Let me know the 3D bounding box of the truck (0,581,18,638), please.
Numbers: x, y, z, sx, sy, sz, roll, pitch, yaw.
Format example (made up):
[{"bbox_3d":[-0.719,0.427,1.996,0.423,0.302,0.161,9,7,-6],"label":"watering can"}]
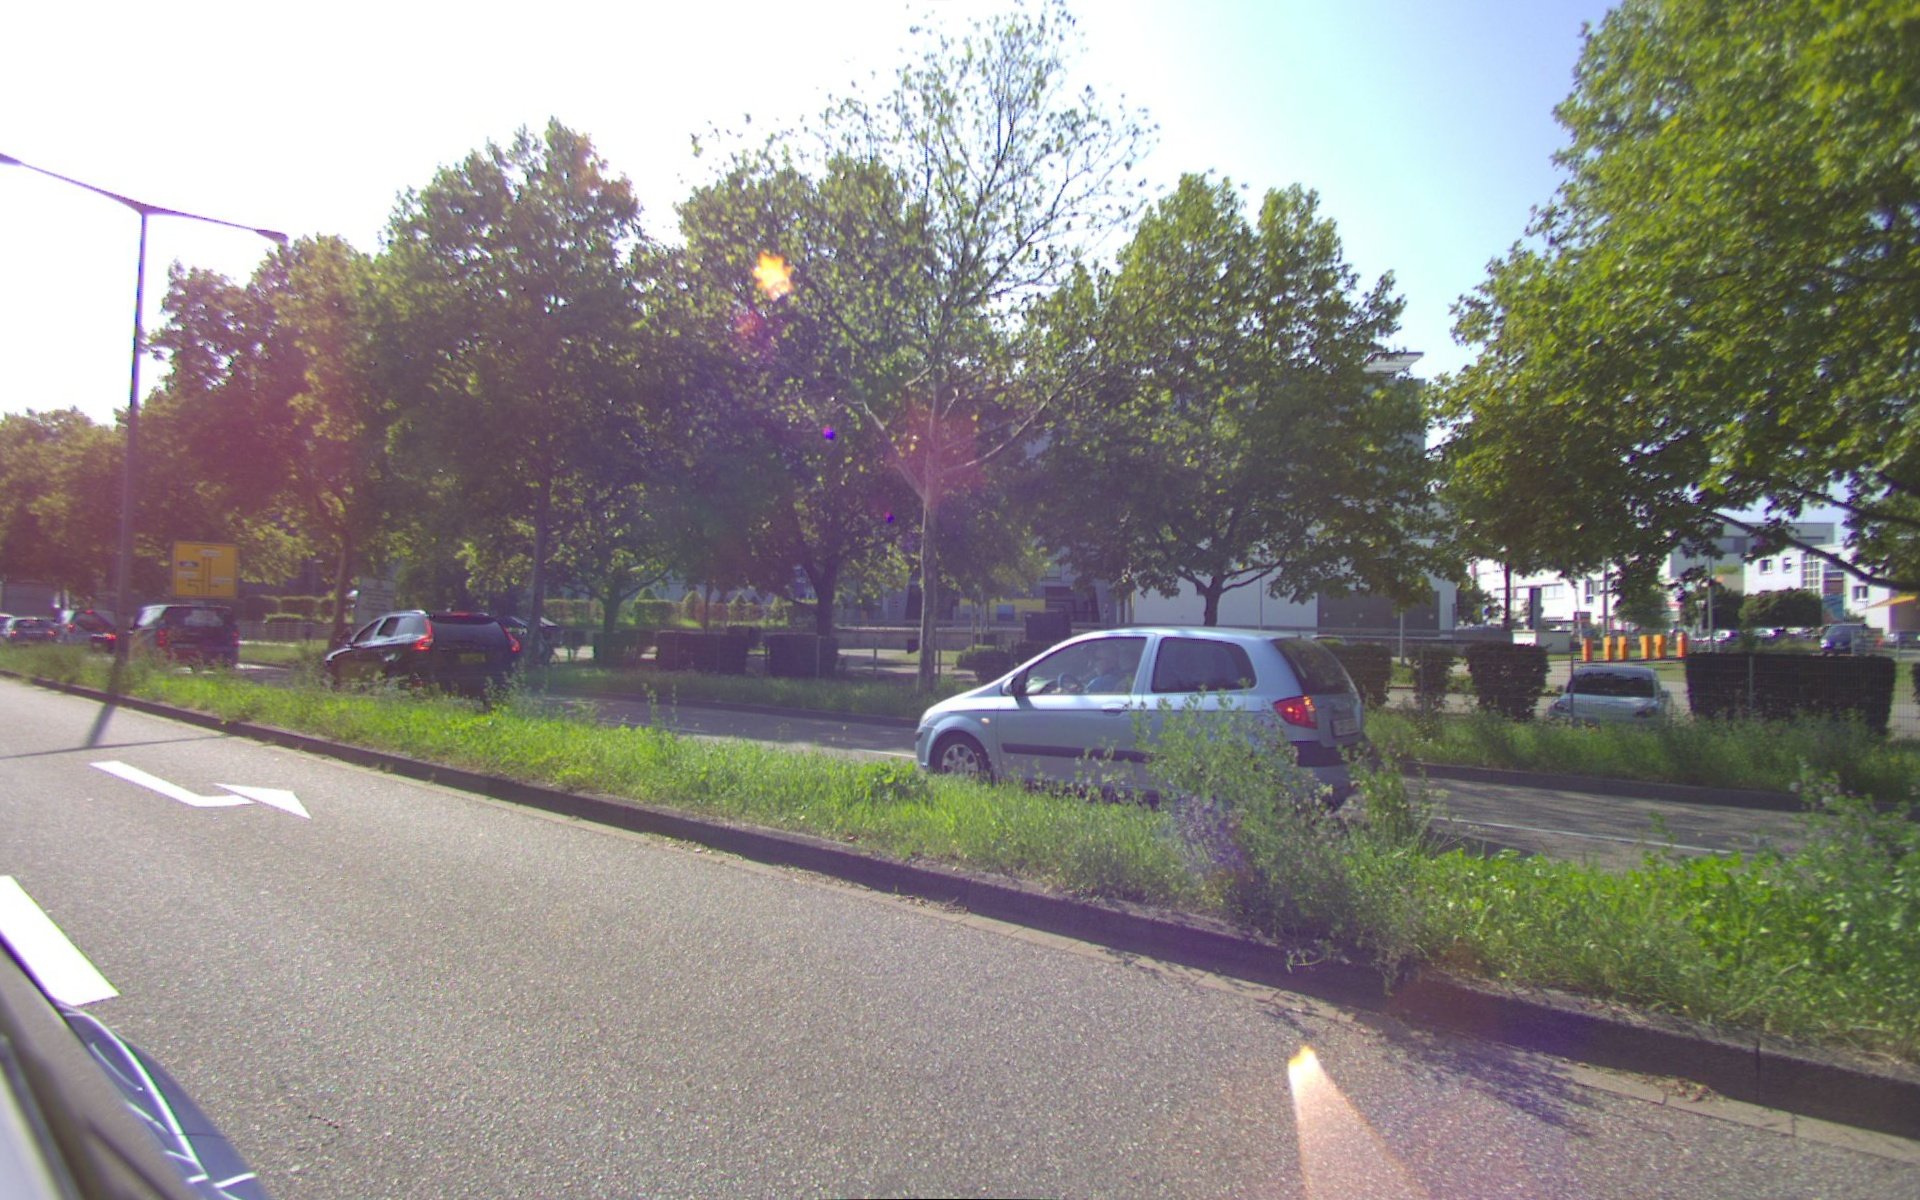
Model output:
[{"bbox_3d":[-67.952,0.638,70.470,5.886,3.849,2.581,-1,-4,40],"label":"truck"}]

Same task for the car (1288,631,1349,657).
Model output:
[{"bbox_3d":[20.714,2.530,58.580,3.088,1.447,1.379,0,-1,6],"label":"car"}]

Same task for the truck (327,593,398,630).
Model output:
[{"bbox_3d":[-48.929,0.970,83.054,2.209,2.883,5.901,0,-1,2],"label":"truck"}]

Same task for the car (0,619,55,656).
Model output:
[{"bbox_3d":[-39.361,1.545,42.355,3.489,1.497,1.660,-1,-1,39],"label":"car"}]

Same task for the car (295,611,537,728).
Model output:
[{"bbox_3d":[-9.228,1.048,17.032,4.499,1.719,1.974,-1,-1,38],"label":"car"}]

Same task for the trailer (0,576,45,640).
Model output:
[{"bbox_3d":[-63.195,0.566,66.455,13.800,3.851,2.606,-1,-4,40],"label":"trailer"}]

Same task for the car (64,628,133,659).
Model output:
[{"bbox_3d":[-38.120,1.916,44.747,4.094,1.272,1.771,-1,-3,42],"label":"car"}]

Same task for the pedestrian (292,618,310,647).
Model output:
[{"bbox_3d":[-37.986,1.883,58.361,0.933,1.665,0.611,-1,-1,40],"label":"pedestrian"}]

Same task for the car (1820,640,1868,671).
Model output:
[{"bbox_3d":[47.104,2.938,53.893,1.840,1.556,3.944,-1,-3,42],"label":"car"}]

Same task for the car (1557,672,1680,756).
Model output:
[{"bbox_3d":[13.035,2.152,19.930,1.817,1.320,3.951,-1,-3,36],"label":"car"}]

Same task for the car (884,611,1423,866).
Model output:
[{"bbox_3d":[1.412,0.891,8.268,3.997,1.586,1.755,-1,-1,40],"label":"car"}]

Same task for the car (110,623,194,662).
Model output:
[{"bbox_3d":[-32.533,1.690,40.723,3.995,1.493,1.773,-1,-2,39],"label":"car"}]

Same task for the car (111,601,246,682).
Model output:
[{"bbox_3d":[-21.617,1.120,27.933,4.561,2.043,1.913,-1,-3,39],"label":"car"}]

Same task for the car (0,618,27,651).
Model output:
[{"bbox_3d":[-48.176,1.708,50.473,4.104,1.606,1.861,-1,-3,40],"label":"car"}]

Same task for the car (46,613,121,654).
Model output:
[{"bbox_3d":[-42.928,1.618,49.535,4.965,1.873,1.964,-1,-4,40],"label":"car"}]
